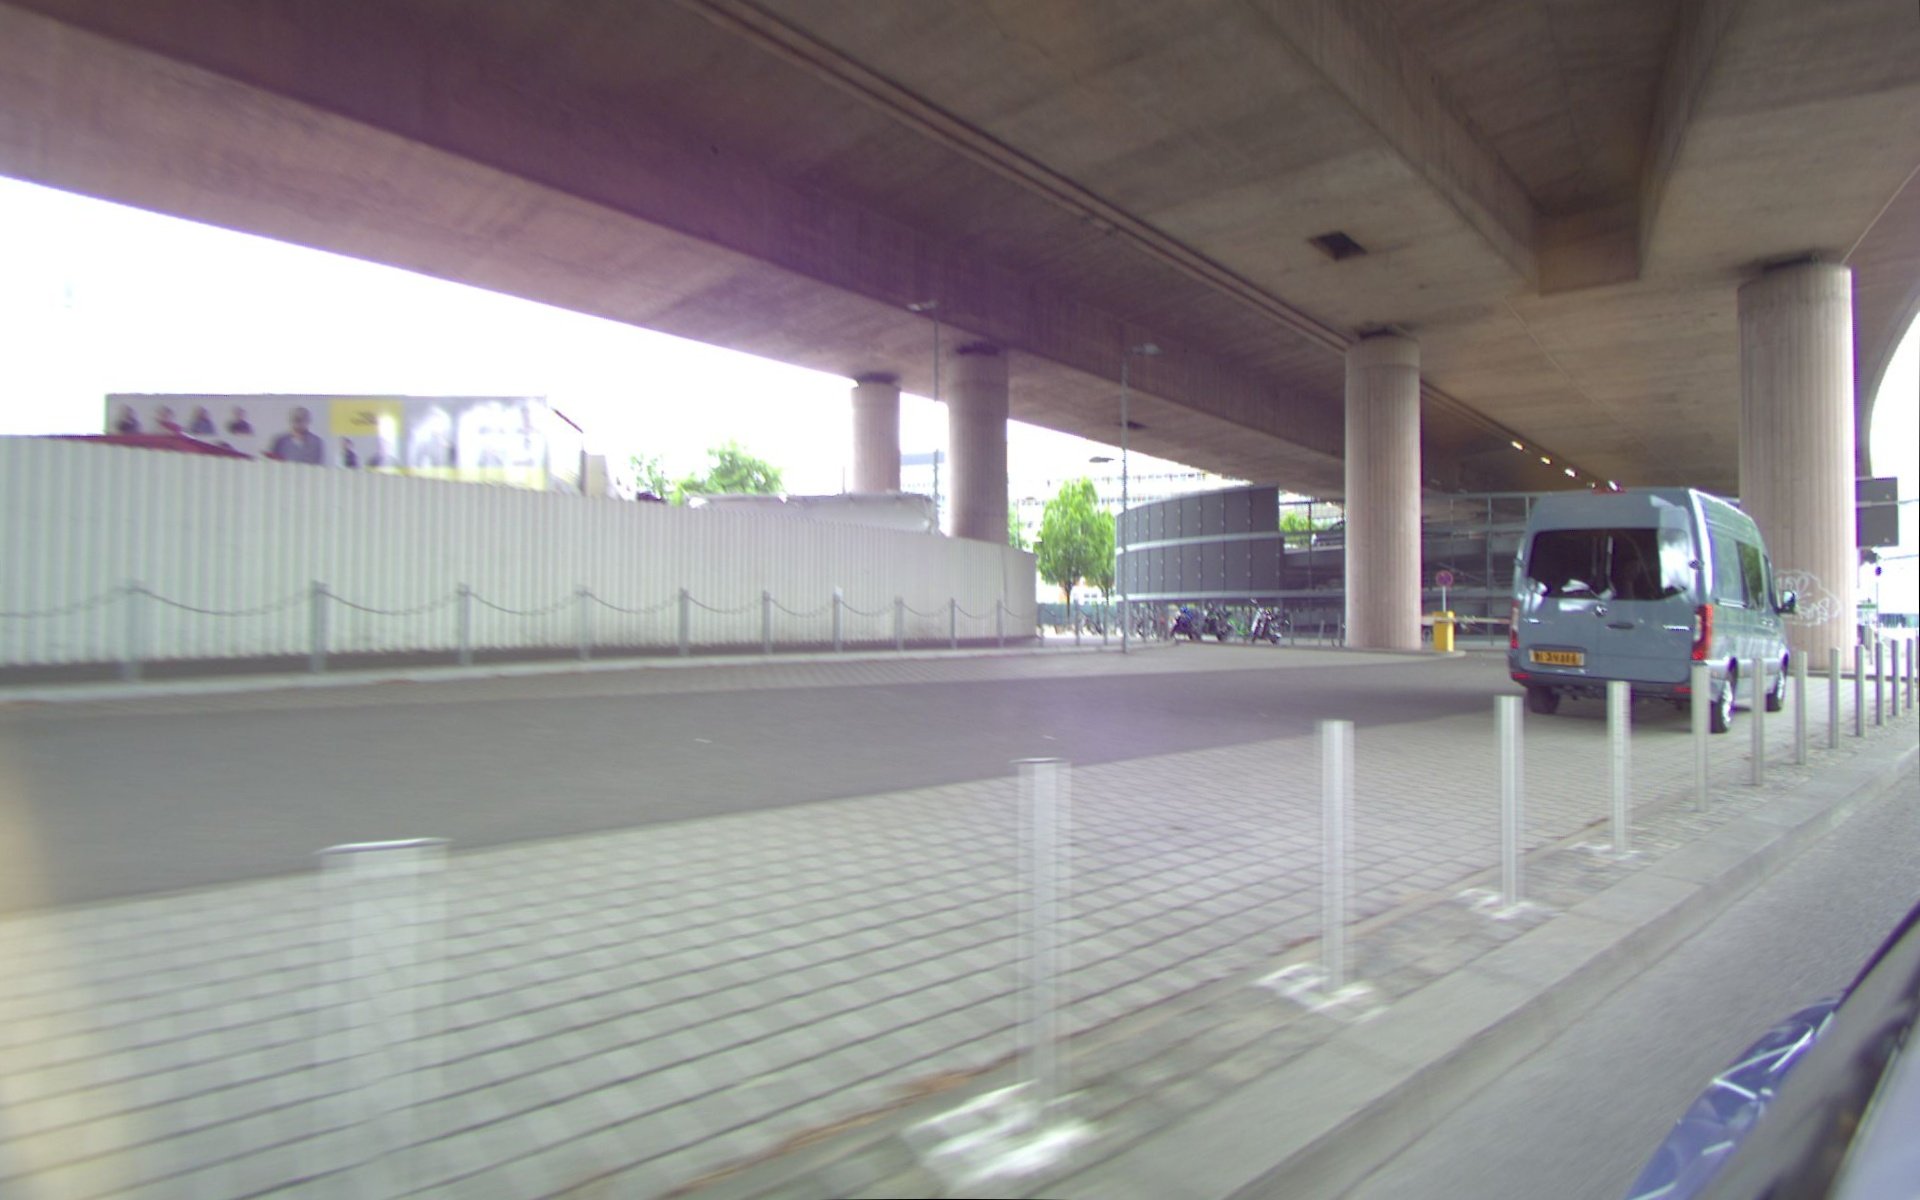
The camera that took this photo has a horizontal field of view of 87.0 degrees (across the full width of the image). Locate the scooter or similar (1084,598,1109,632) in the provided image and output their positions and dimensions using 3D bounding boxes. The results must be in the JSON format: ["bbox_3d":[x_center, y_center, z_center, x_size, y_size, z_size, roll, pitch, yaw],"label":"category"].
[{"bbox_3d":[5.289,0.596,39.402,0.533,1.234,1.680,4,-3,-5],"label":"scooter or similar"}]

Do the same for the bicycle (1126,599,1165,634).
[{"bbox_3d":[6.516,0.591,35.615,0.608,1.120,2.331,4,-3,-8],"label":"bicycle"}]

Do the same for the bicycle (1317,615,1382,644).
[{"bbox_3d":[13.140,0.978,34.177,2.005,0.938,0.414,0,-2,35],"label":"bicycle"}]

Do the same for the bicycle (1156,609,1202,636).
[{"bbox_3d":[8.255,0.833,38.187,1.728,0.995,0.430,0,-2,42],"label":"bicycle"}]

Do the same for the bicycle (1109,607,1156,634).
[{"bbox_3d":[6.758,0.780,39.719,0.389,1.037,2.059,3,-2,-41],"label":"bicycle"}]

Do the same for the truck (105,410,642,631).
[{"bbox_3d":[-12.223,-1.578,21.942,9.730,4.211,2.817,1,0,-6],"label":"truck"}]

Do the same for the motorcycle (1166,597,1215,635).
[{"bbox_3d":[7.660,0.542,33.538,0.571,1.120,2.294,0,-5,40],"label":"motorcycle"}]

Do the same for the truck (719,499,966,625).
[{"bbox_3d":[-4.304,-1.323,37.243,8.590,4.211,2.915,1,0,-7],"label":"truck"}]

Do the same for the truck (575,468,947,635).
[{"bbox_3d":[-5.590,-1.343,29.584,10.092,4.357,3.016,1,0,-5],"label":"truck"}]

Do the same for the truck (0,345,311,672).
[{"bbox_3d":[-15.304,-1.301,14.484,9.865,4.236,2.901,1,0,-4],"label":"truck"}]

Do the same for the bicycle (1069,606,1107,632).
[{"bbox_3d":[5.262,0.788,41.699,0.429,1.037,1.734,3,-2,-37],"label":"bicycle"}]

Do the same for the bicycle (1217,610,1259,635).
[{"bbox_3d":[12.527,1.023,45.619,1.775,1.093,0.431,0,-2,33],"label":"bicycle"}]

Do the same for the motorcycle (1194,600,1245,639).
[{"bbox_3d":[8.410,0.647,32.702,0.542,1.120,2.292,0,-5,43],"label":"motorcycle"}]

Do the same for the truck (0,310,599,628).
[{"bbox_3d":[-11.901,-2.141,18.356,9.529,4.986,3.151,1,0,-6],"label":"truck"}]

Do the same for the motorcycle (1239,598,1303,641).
[{"bbox_3d":[9.684,0.625,31.468,2.494,1.251,0.783,4,-2,-44],"label":"motorcycle"}]

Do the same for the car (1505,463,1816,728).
[{"bbox_3d":[9.110,-0.021,12.869,5.971,2.646,1.996,1,0,-43],"label":"car"}]

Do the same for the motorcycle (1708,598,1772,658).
[{"bbox_3d":[19.131,0.674,24.866,0.790,1.384,2.110,1,0,25],"label":"motorcycle"}]
